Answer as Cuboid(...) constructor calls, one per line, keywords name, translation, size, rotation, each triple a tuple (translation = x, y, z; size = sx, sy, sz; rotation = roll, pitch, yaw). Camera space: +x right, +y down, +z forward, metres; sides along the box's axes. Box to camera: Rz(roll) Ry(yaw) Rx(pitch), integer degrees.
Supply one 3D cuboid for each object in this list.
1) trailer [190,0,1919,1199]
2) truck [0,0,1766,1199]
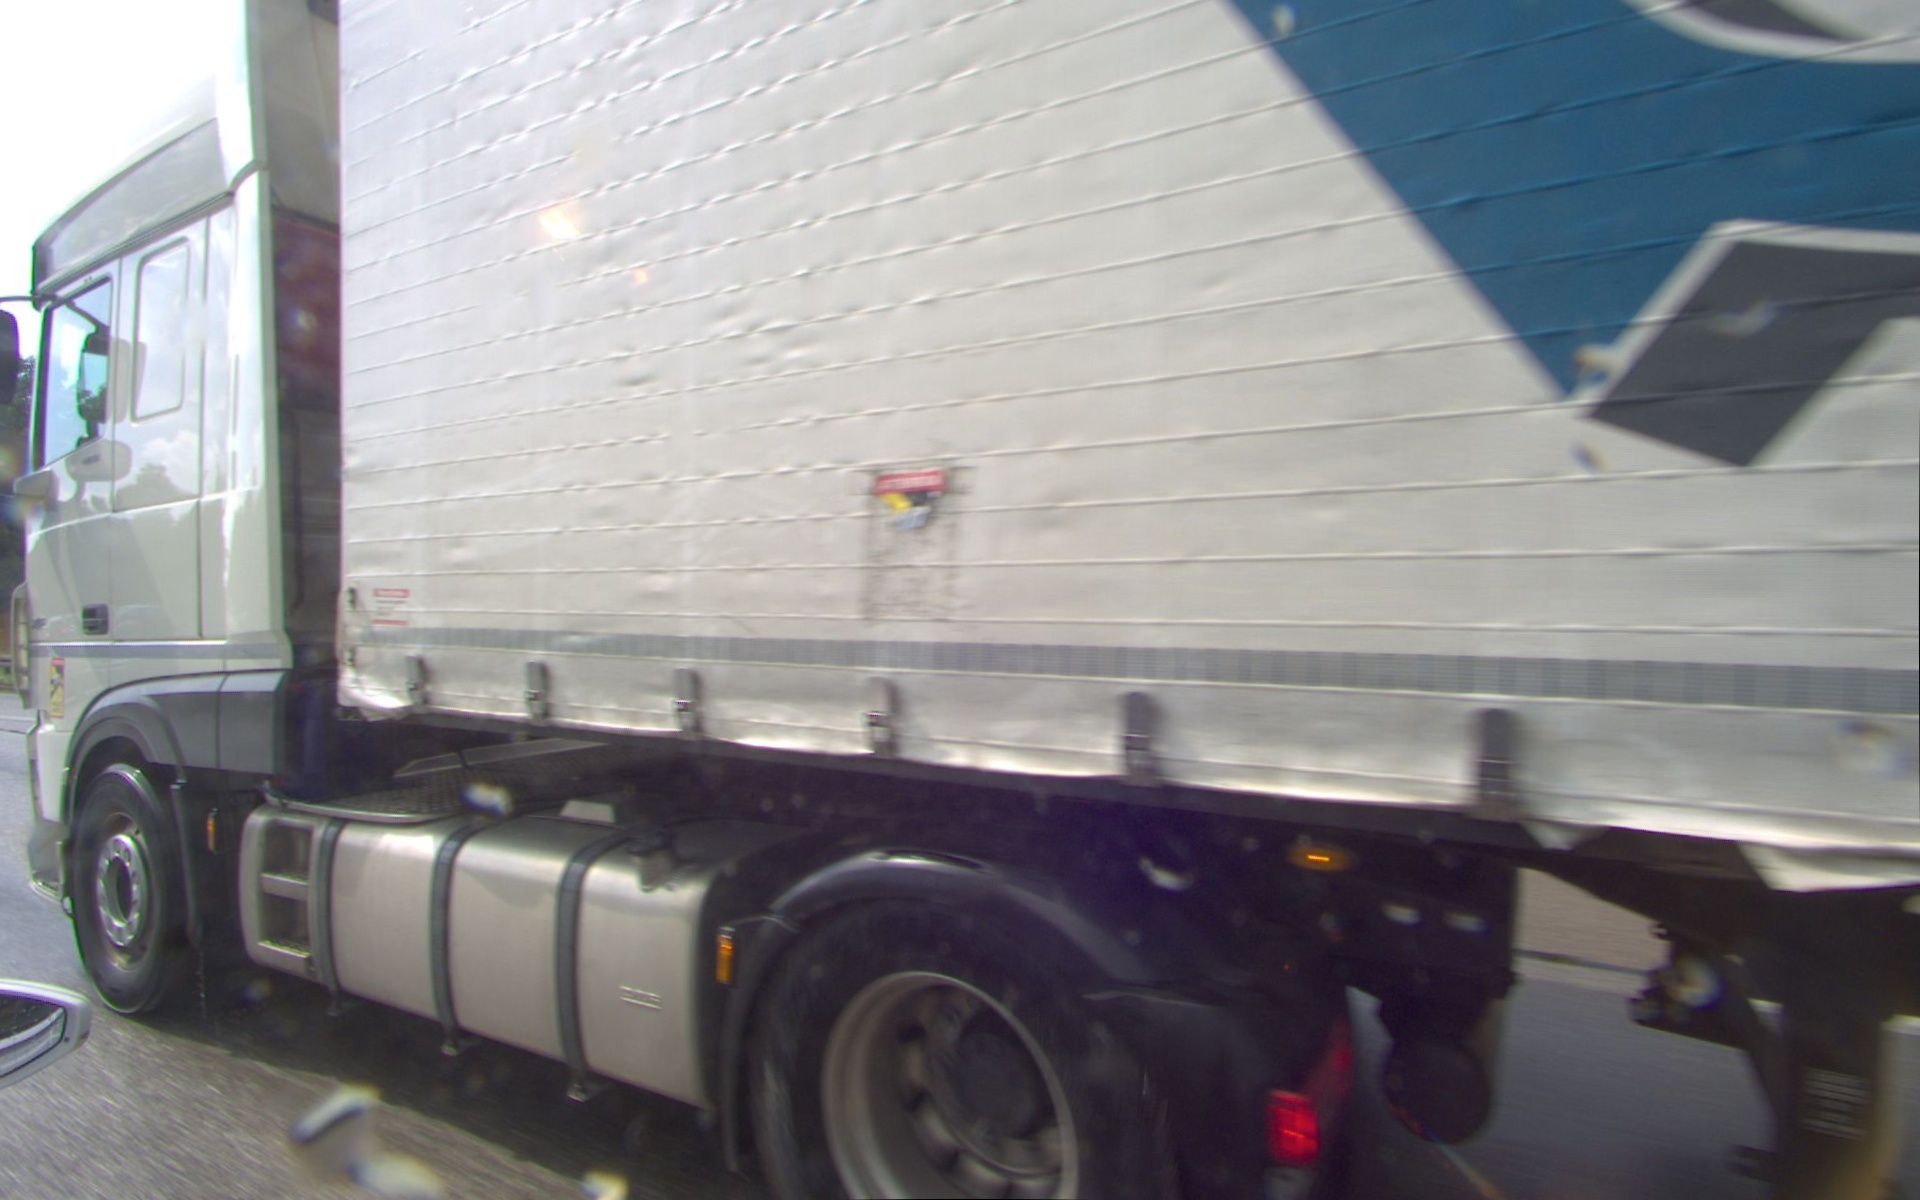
Cuboid(name="trailer", translation=(4.479, -0.515, 0.846), size=(13.921, 3.948, 3.280), rotation=(-1, -2, 31))
Cuboid(name="truck", translation=(-0.983, -0.416, 4.161), size=(6.302, 3.940, 3.280), rotation=(-1, -2, 31))
